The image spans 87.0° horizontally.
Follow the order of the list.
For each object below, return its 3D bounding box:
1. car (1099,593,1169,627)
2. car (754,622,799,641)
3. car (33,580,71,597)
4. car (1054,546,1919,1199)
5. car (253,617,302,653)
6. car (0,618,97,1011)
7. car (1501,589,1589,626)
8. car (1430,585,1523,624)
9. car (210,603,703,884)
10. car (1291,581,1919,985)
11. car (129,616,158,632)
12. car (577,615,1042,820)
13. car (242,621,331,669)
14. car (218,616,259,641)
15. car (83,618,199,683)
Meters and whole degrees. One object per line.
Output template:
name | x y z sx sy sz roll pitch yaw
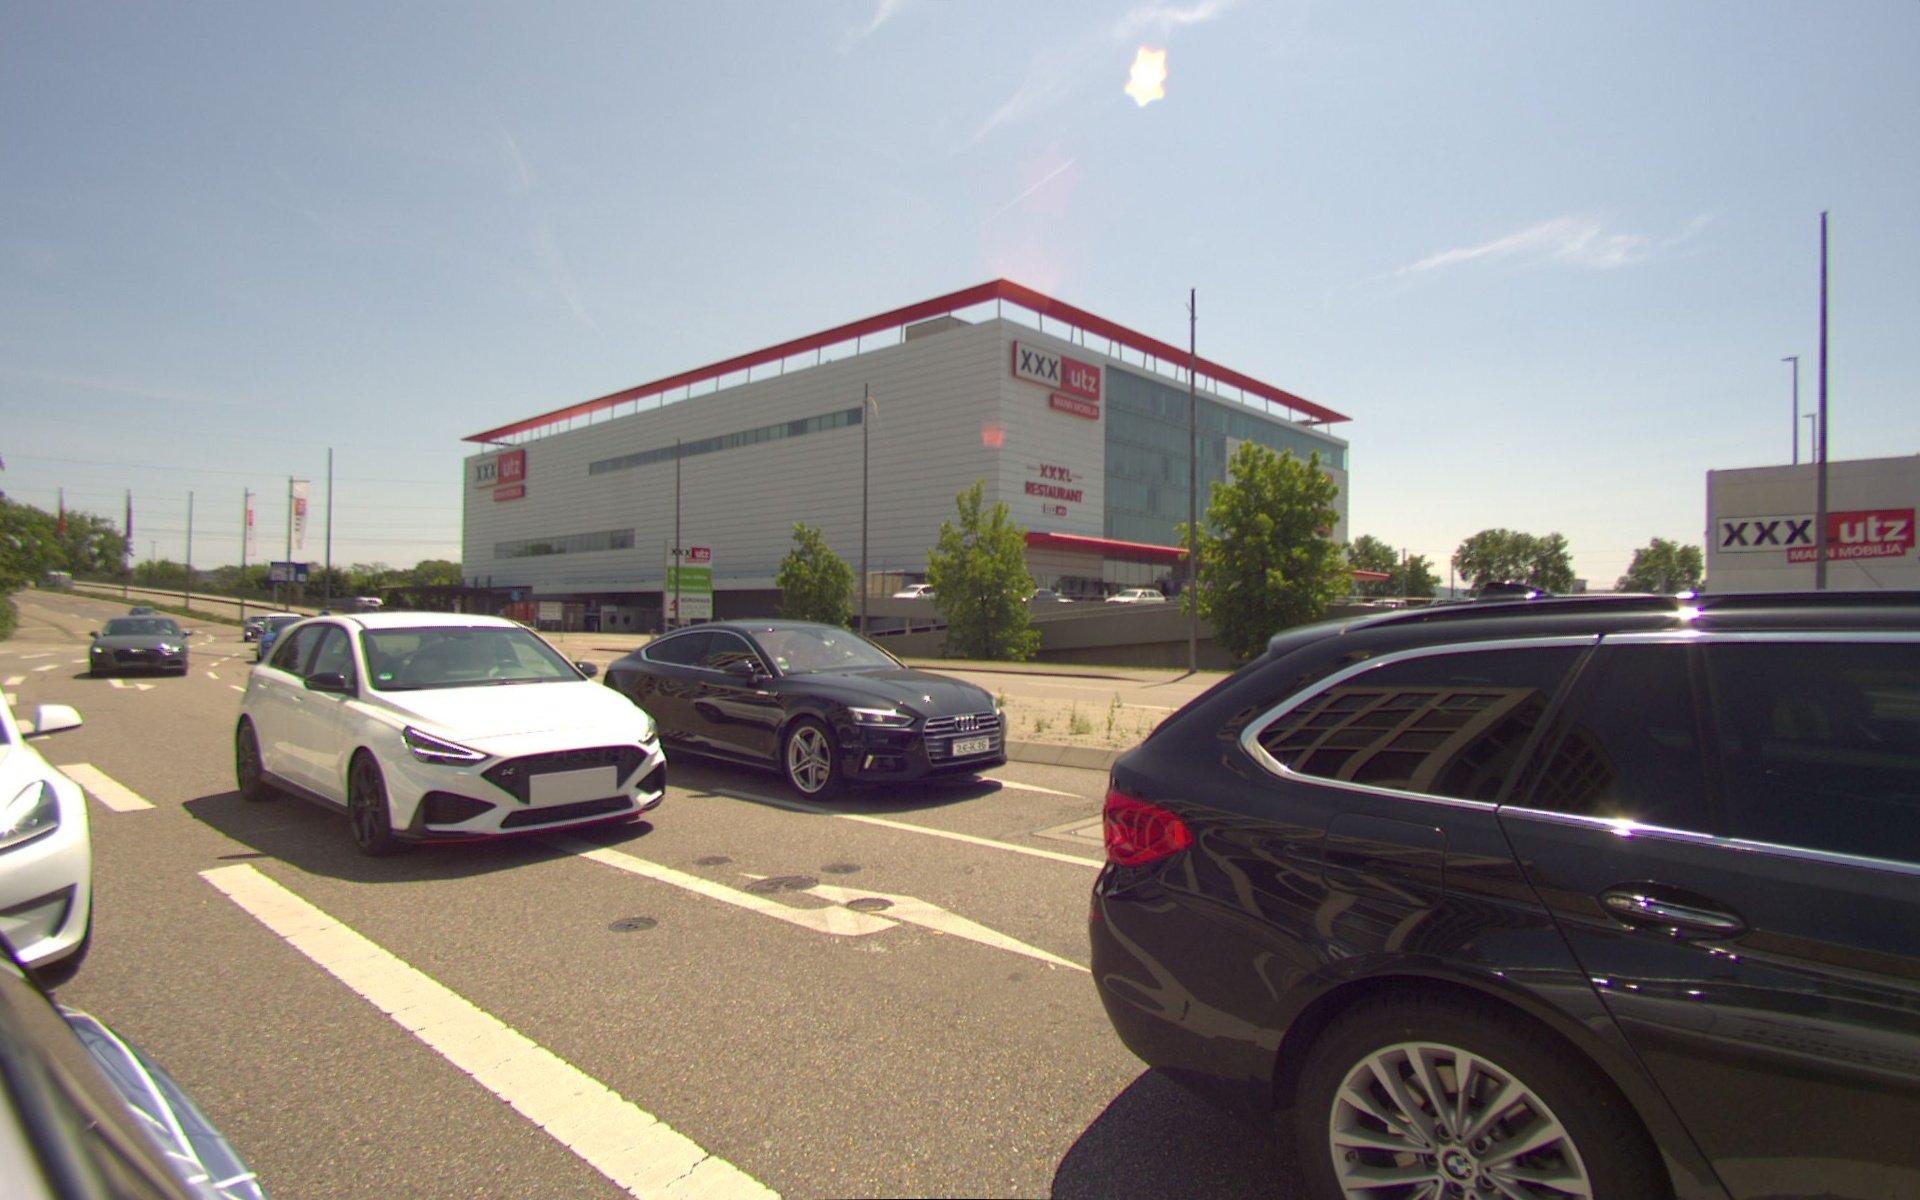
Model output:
car | 9.932 0.584 57.569 2.001 1.781 4.140 0 -2 44
car | -16.865 2.910 93.292 1.911 1.632 3.698 0 -2 41
car | -105.193 -1.302 117.241 4.819 1.864 1.819 0 -2 29
car | 2.566 0.648 1.711 4.620 1.477 1.781 -1 -1 40
car | -31.489 1.577 46.682 1.653 1.587 4.066 1 -1 -37
car | -5.638 0.825 4.600 4.401 1.436 1.857 -1 -1 39
car | 32.399 0.434 56.105 3.996 1.923 1.974 -1 -2 39
car | 27.018 0.282 53.017 3.998 1.946 1.973 -1 -2 41
car | -3.822 0.796 7.327 4.228 1.461 1.712 -1 -2 41
car | 3.814 0.691 4.707 3.991 1.505 1.782 -1 -1 36
car | -62.713 1.834 77.755 1.454 1.198 3.355 0 0 -44
car | -1.575 0.868 9.152 4.533 1.401 1.729 -2 -2 43
car | -21.449 1.379 32.171 1.775 1.424 4.412 2 -2 -41
car | -50.977 2.008 71.481 1.811 1.674 4.003 2 -2 -44
car | -19.654 1.156 24.217 1.776 1.388 4.410 2 -2 -43
